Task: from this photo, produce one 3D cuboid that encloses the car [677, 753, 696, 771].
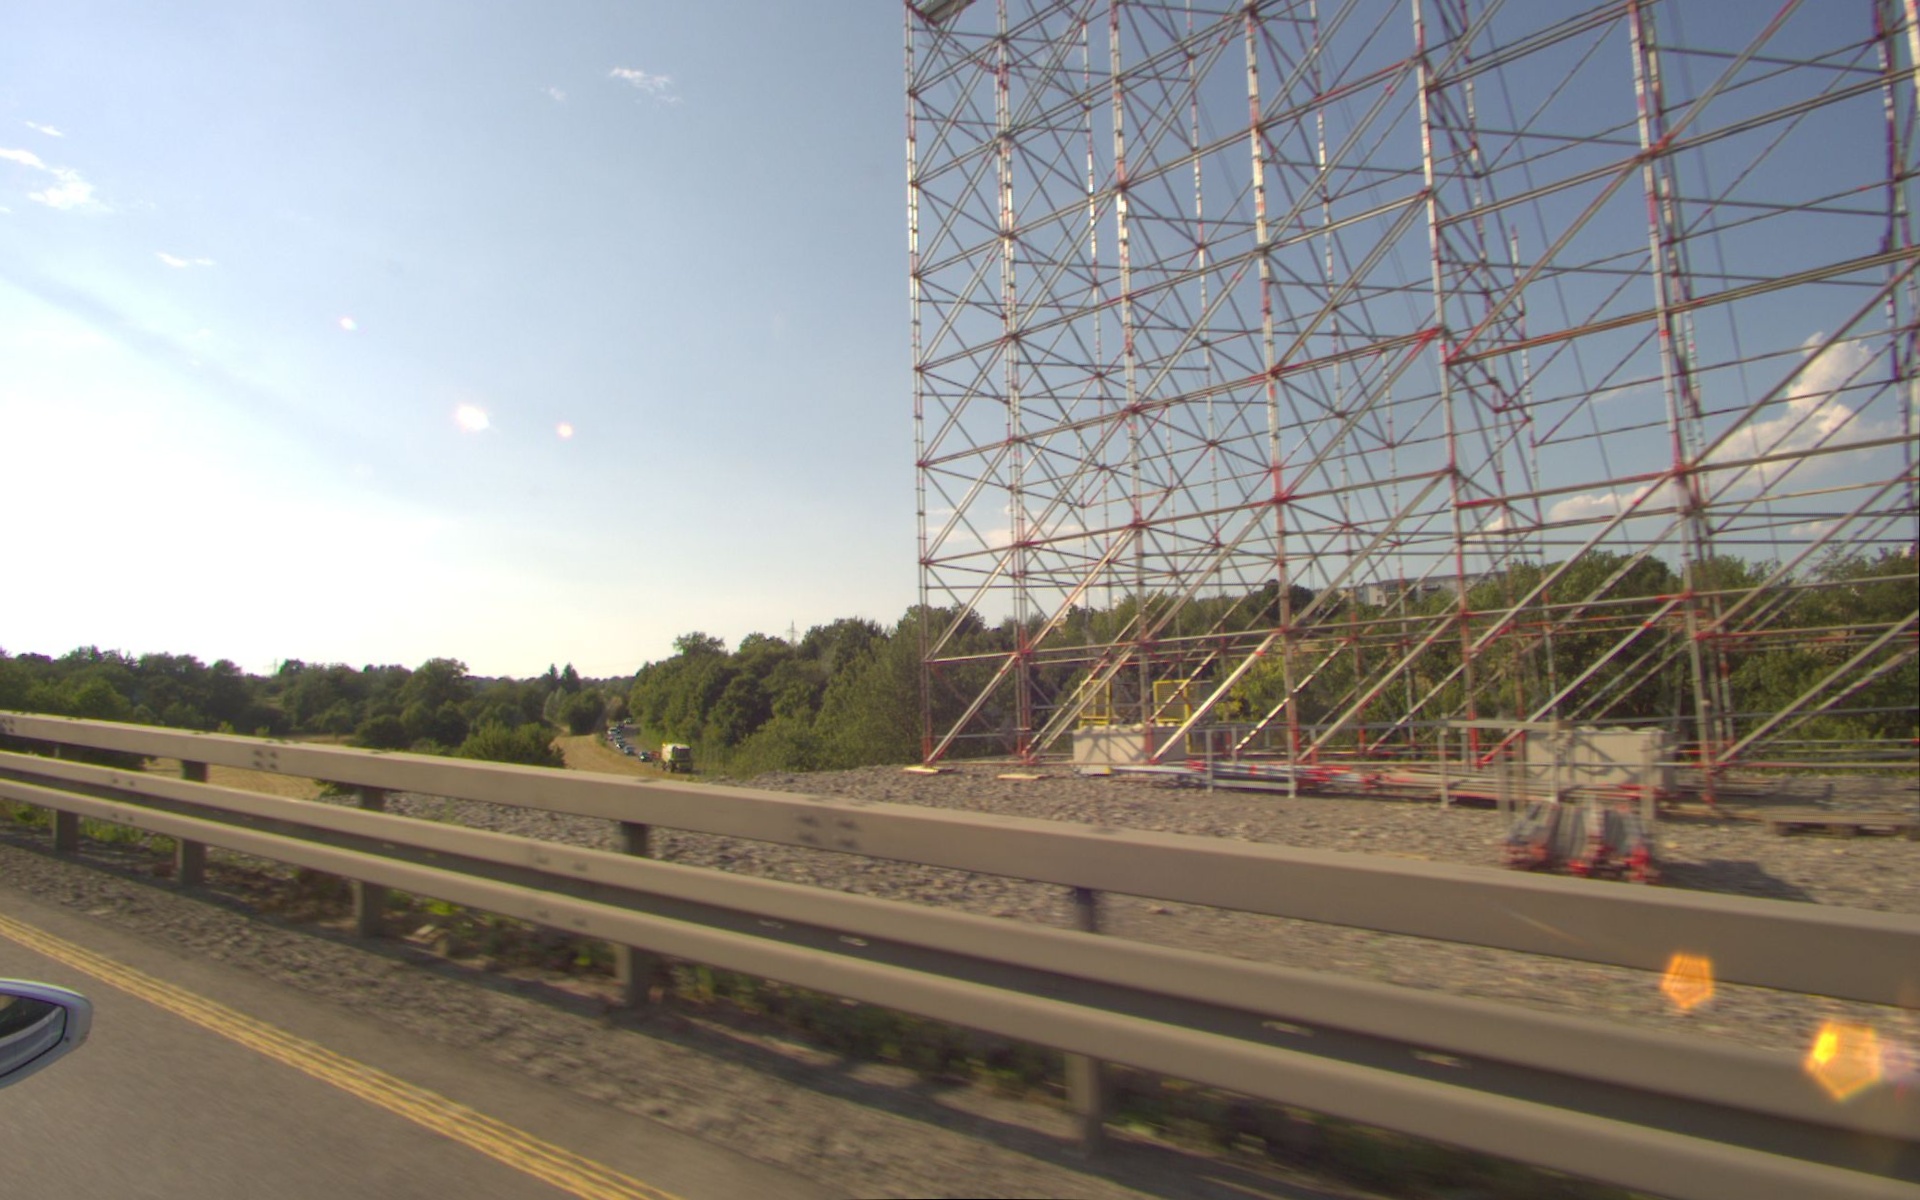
[{"bbox_3d":[-40.099,23.719,146.889,1.854,2.039,3.984,0,-2,-28],"label":"car"}]
